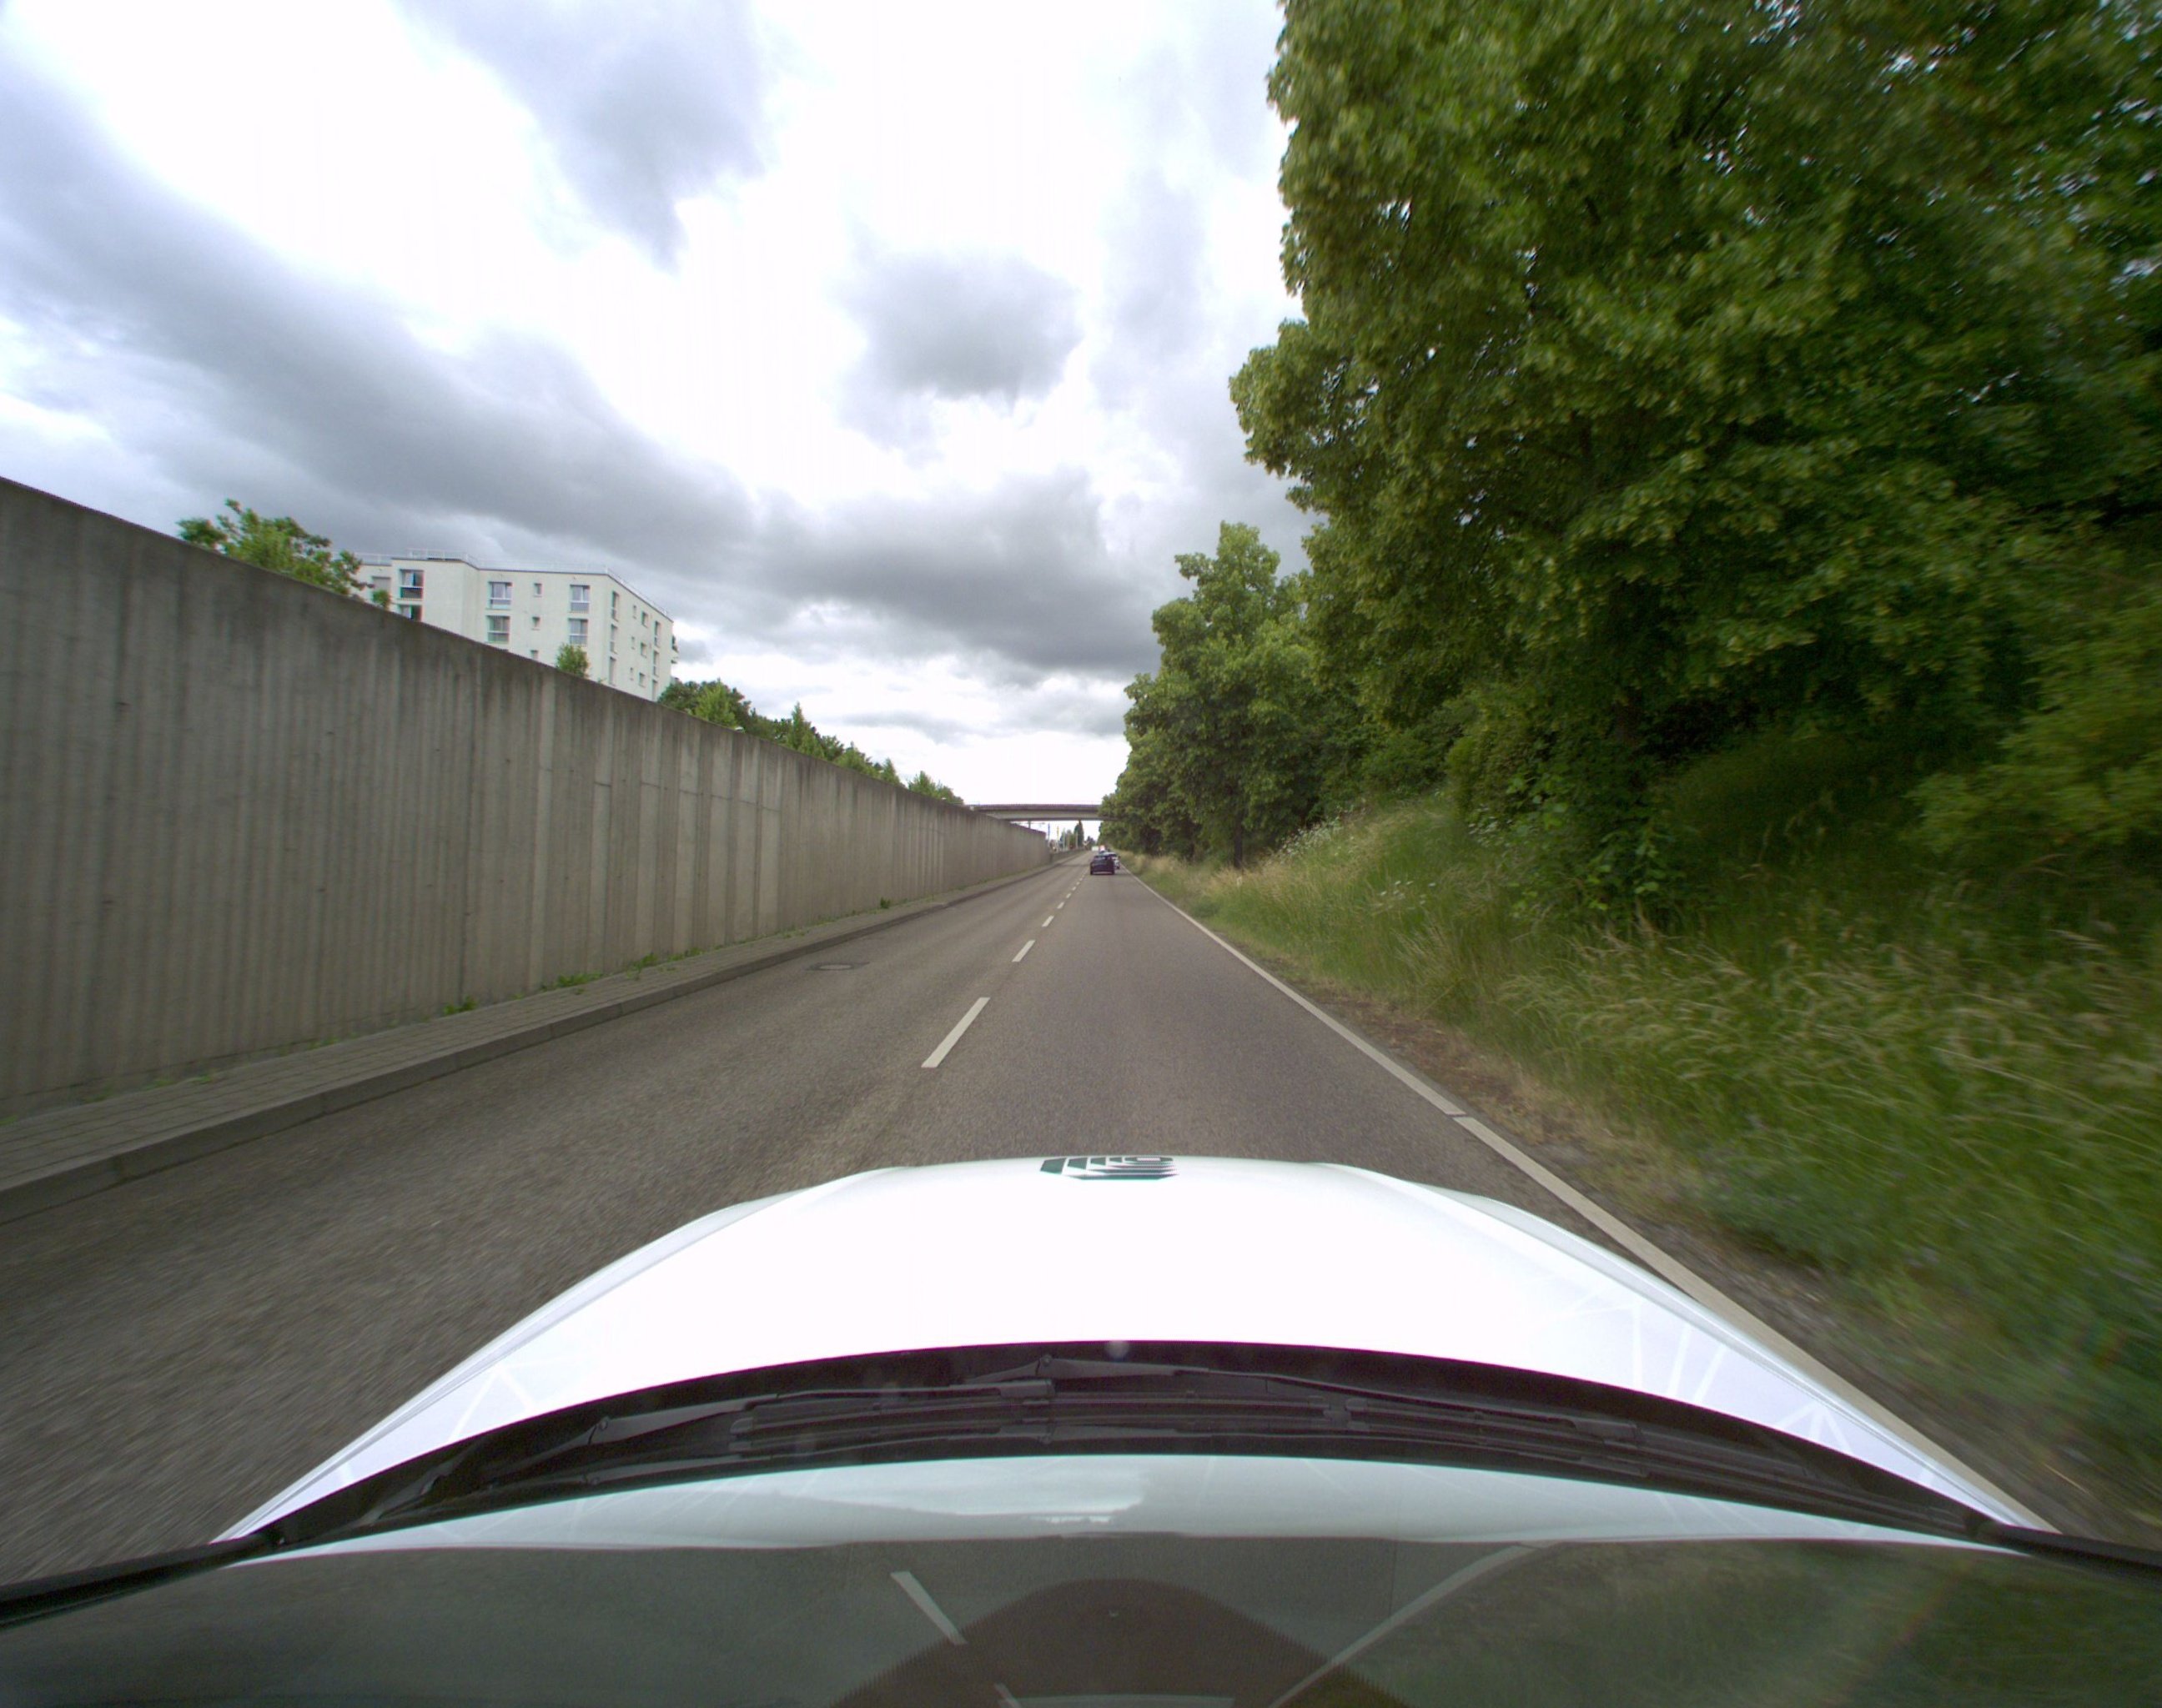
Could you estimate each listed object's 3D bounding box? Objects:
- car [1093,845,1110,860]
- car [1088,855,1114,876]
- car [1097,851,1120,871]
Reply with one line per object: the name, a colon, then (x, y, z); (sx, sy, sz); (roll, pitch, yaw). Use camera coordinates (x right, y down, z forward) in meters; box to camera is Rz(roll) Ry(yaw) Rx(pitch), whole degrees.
car: (2.472, -0.161, 97.105); (1.986, 1.740, 4.001); (0, -1, 1)
car: (1.462, 0.789, 58.284); (1.775, 1.468, 4.001); (-1, 0, 1)
car: (2.466, 0.624, 72.603); (1.986, 1.753, 4.001); (-1, 0, 1)
